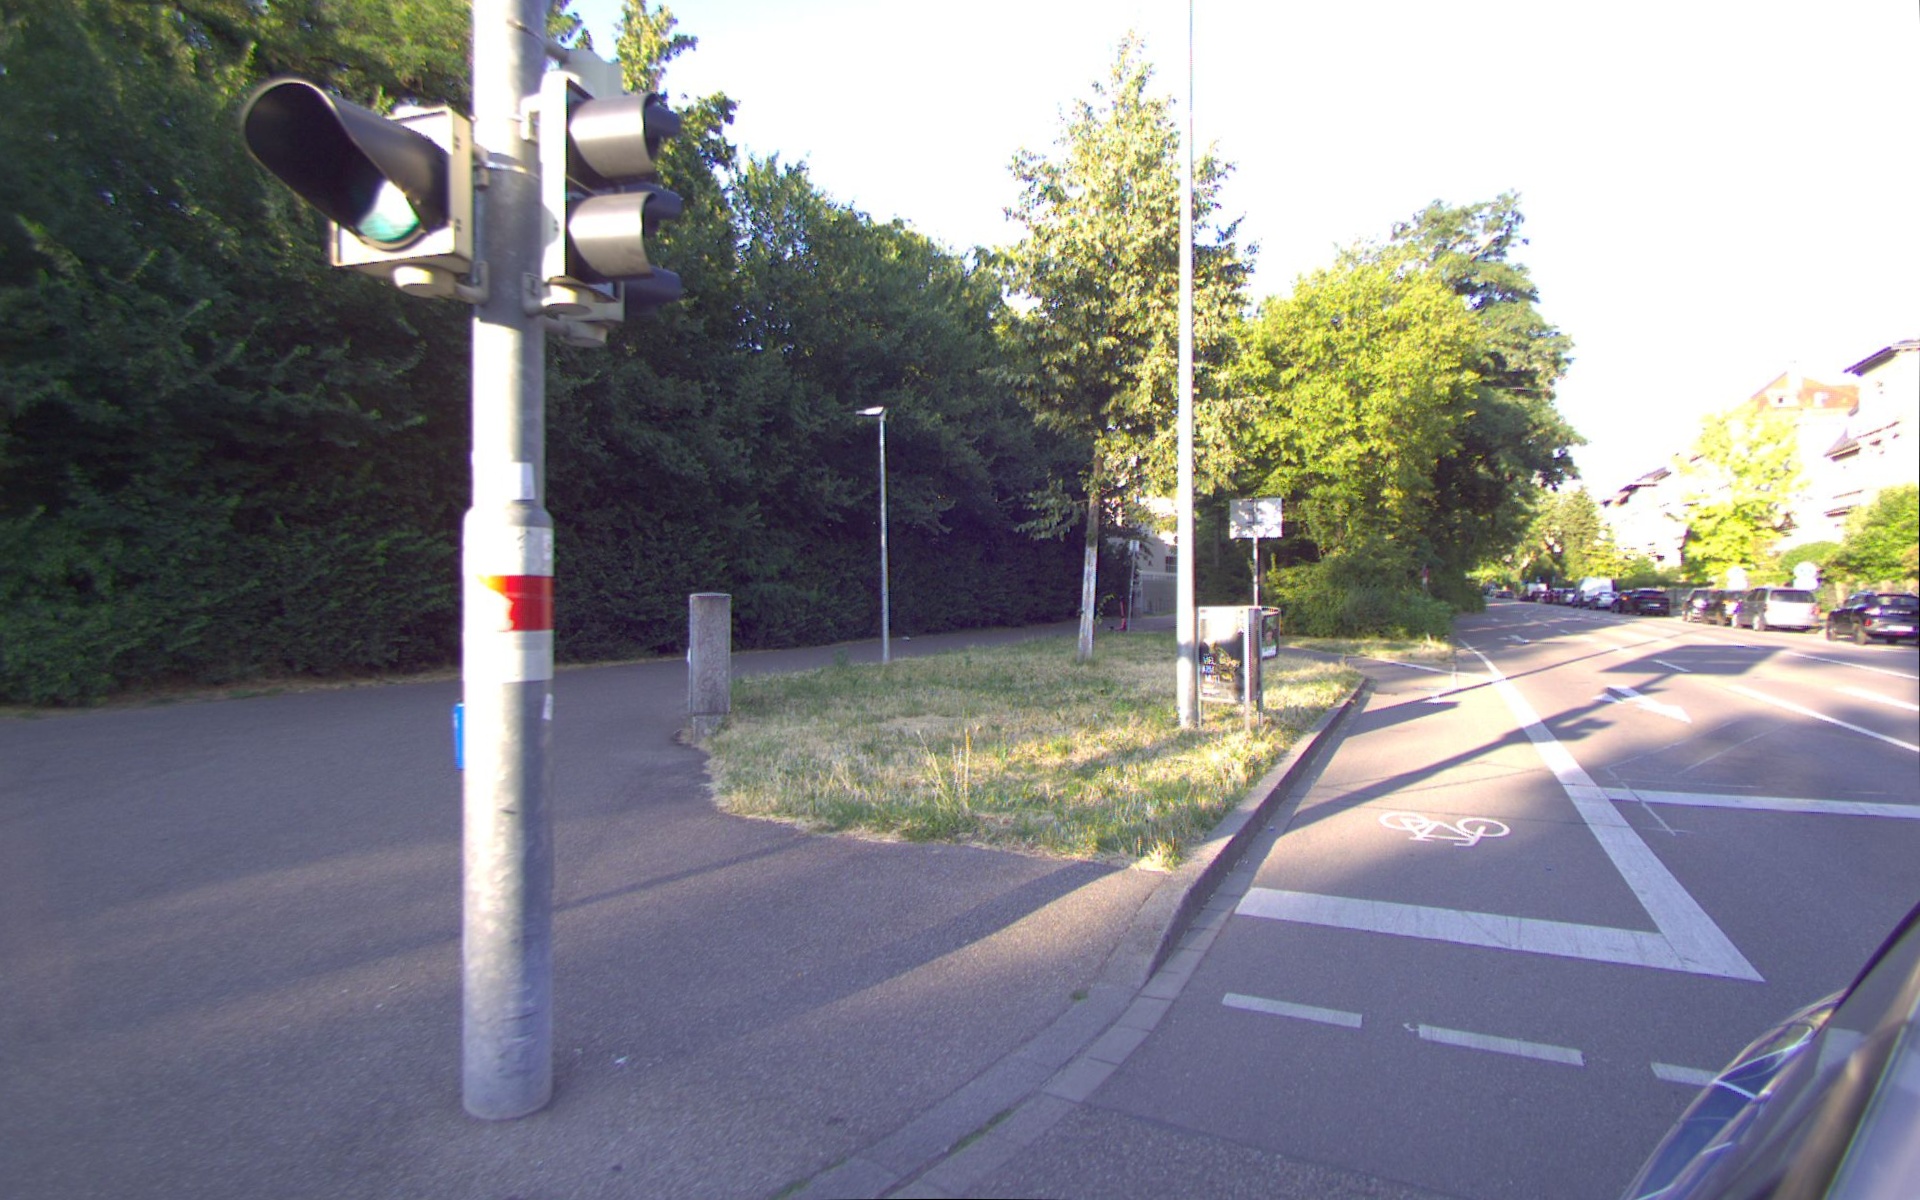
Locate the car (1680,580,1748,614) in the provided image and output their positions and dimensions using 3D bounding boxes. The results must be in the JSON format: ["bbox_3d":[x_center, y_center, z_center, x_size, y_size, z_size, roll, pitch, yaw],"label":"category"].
[{"bbox_3d":[34.020,-0.170,45.765,1.698,1.468,3.692,1,1,24],"label":"car"}]

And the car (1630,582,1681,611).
[{"bbox_3d":[40.027,-0.217,58.331,1.863,1.625,3.689,1,1,26],"label":"car"}]

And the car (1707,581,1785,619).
[{"bbox_3d":[32.109,-0.019,41.443,1.698,1.468,3.692,1,1,24],"label":"car"}]

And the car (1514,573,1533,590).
[{"bbox_3d":[82.286,-2.707,147.790,1.979,2.488,5.532,0,1,25],"label":"car"}]

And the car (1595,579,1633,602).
[{"bbox_3d":[47.732,-0.702,73.897,1.698,1.625,3.823,1,1,24],"label":"car"}]

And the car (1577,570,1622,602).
[{"bbox_3d":[50.489,-1.130,80.038,2.209,2.399,5.830,1,1,25],"label":"car"}]

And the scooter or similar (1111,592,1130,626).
[{"bbox_3d":[5.220,0.290,32.952,0.193,1.100,0.824,-3,-2,40],"label":"scooter or similar"}]

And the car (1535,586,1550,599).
[{"bbox_3d":[64.314,-0.852,111.721,1.209,1.456,2.492,1,1,26],"label":"car"}]

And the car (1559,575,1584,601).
[{"bbox_3d":[55.143,-1.117,91.344,1.556,2.294,3.766,1,1,26],"label":"car"}]

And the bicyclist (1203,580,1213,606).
[{"bbox_3d":[13.839,-0.395,56.409,0.490,1.435,0.564,0,0,22],"label":"bicyclist"}]

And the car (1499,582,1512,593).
[{"bbox_3d":[102.664,-2.441,190.602,1.980,2.039,3.964,0,1,26],"label":"car"}]

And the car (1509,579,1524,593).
[{"bbox_3d":[89.575,-2.252,162.869,1.981,2.039,3.963,-2,0,27],"label":"car"}]

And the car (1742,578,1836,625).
[{"bbox_3d":[30.031,0.007,36.794,1.698,1.608,3.722,1,1,24],"label":"car"}]

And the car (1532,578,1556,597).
[{"bbox_3d":[72.213,-1.587,125.199,2.183,2.241,4.486,1,1,26],"label":"car"}]

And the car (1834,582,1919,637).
[{"bbox_3d":[26.176,0.226,28.460,1.618,1.463,3.532,1,1,28],"label":"car"}]
